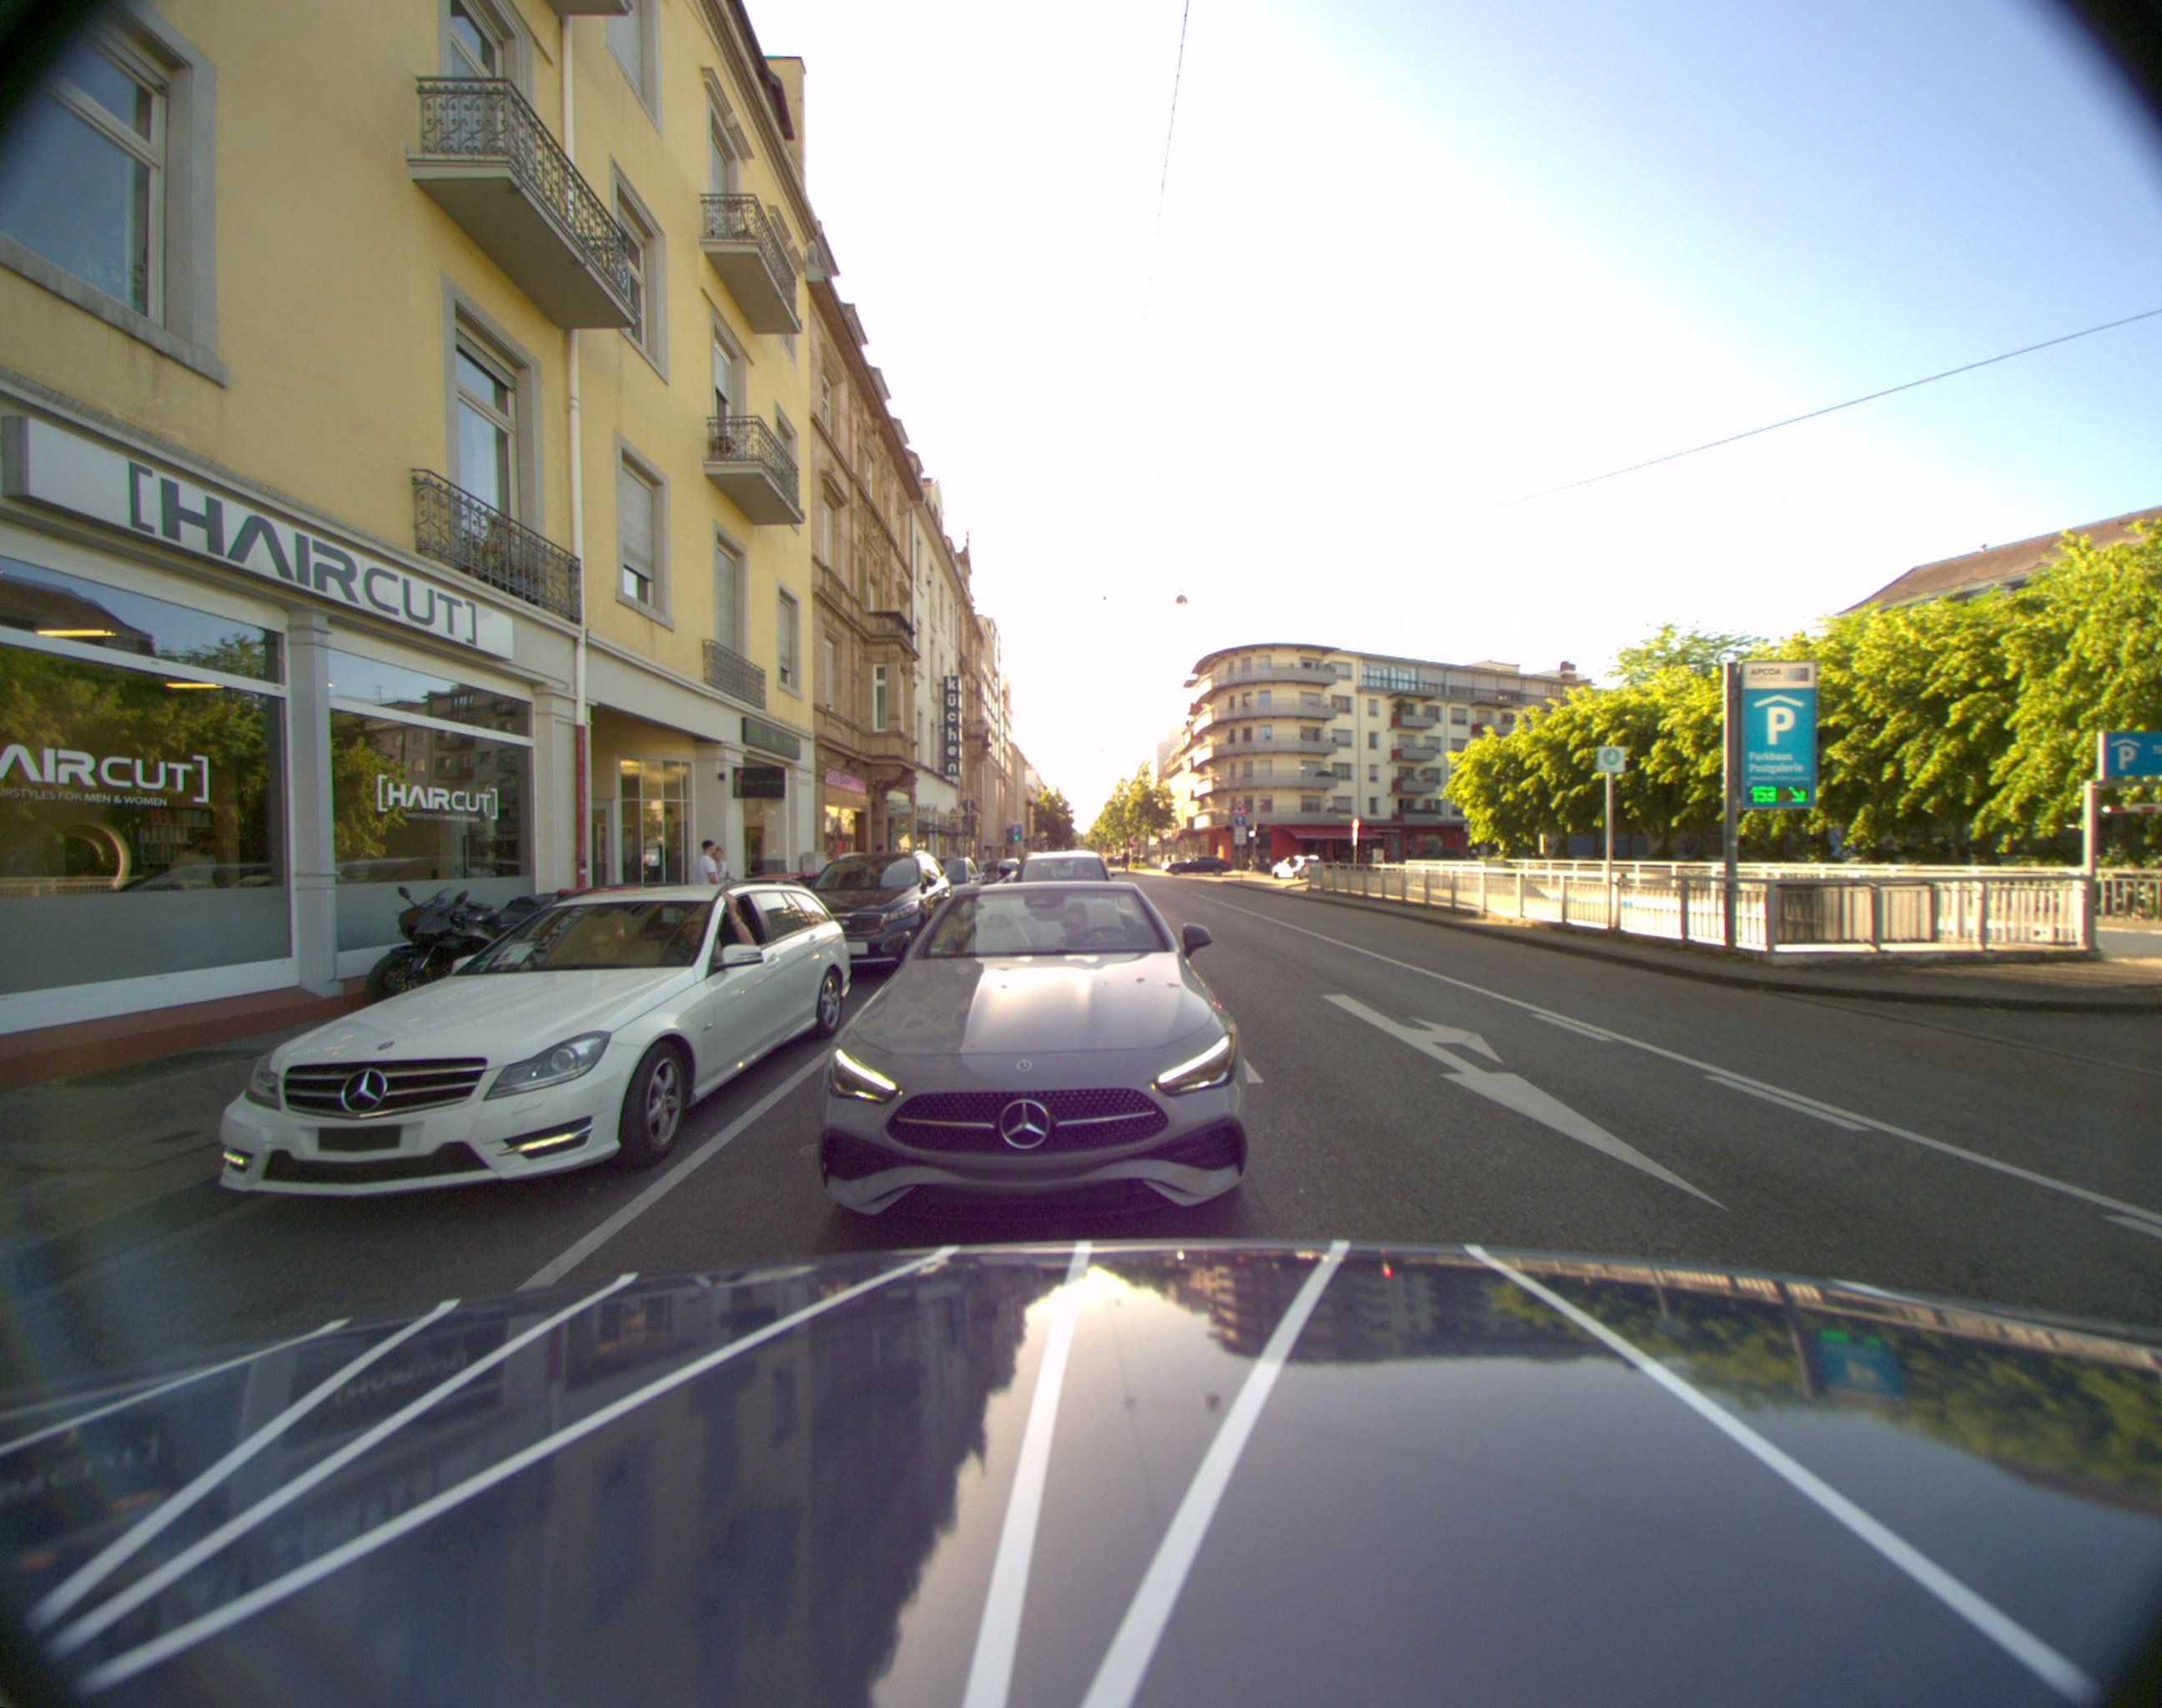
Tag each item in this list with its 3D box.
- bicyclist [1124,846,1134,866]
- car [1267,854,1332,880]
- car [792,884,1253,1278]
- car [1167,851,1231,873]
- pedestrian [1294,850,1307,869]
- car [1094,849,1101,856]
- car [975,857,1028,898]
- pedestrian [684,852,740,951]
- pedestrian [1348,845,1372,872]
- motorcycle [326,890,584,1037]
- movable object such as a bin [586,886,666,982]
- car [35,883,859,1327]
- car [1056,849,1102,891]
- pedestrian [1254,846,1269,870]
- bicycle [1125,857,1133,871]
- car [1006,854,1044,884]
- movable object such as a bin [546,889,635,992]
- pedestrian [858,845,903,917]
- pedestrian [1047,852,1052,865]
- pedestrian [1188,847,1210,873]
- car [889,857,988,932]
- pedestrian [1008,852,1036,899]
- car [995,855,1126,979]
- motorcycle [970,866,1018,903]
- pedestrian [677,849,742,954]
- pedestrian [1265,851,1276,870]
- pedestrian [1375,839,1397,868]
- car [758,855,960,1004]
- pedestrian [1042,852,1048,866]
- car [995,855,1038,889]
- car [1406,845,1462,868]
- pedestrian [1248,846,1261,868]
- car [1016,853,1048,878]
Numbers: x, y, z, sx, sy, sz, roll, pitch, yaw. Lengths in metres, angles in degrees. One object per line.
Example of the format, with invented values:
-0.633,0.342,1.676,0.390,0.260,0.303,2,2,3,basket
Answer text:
4.023,0.140,64.054,0.757,1.651,1.144,-2,1,5,bicyclist
13.047,0.752,45.608,1.804,1.426,4.245,-2,0,-15,car
-0.254,1.016,5.253,1.849,1.371,4.255,-2,0,-1,car
8.169,0.553,52.608,4.283,1.375,2.001,-1,0,9,car
17.695,0.438,61.156,0.583,1.453,0.790,-2,1,-37,pedestrian
4.635,-0.328,212.227,1.998,1.805,4.000,-1,0,1,car
-3.133,0.897,30.729,1.715,1.477,3.999,-1,0,0,car
-6.202,0.786,12.810,0.572,1.607,0.643,-1,1,2,pedestrian
21.692,0.336,59.090,1.234,2.002,1.259,-2,1,-21,pedestrian
-6.257,1.020,7.828,0.773,1.158,2.247,1,0,1,motorcycle
-6.054,1.051,10.142,0.647,1.200,0.644,-1,1,1,movable object such as a bin
-3.074,1.042,5.193,1.759,1.453,4.597,-1,0,0,car
-0.055,0.686,34.582,1.952,1.742,4.000,-1,0,1,car
13.937,0.302,58.661,0.756,1.795,0.755,-2,1,-41,pedestrian
4.057,0.852,64.230,0.661,1.083,1.971,-1,0,4,bicycle
-2.977,0.760,41.001,1.715,1.477,3.999,-1,0,0,car
-6.104,1.060,9.490,0.647,1.200,0.644,-1,1,1,movable object such as a bin
-4.588,0.605,17.458,0.795,1.607,0.763,-1,1,-1,pedestrian
-4.110,0.595,99.326,0.467,1.769,0.567,-2,1,-29,pedestrian
9.214,0.466,59.365,1.202,2.002,1.018,-3,1,-37,pedestrian
-3.271,0.888,17.964,1.696,1.559,3.018,-1,0,1,car
-2.132,0.759,27.522,0.694,1.657,0.833,-2,1,-26,pedestrian
-0.246,0.848,12.179,1.716,1.599,4.000,-1,0,1,car
-3.053,1.045,26.790,0.769,1.225,1.546,-1,1,42,motorcycle
-5.875,0.728,12.052,0.642,1.607,0.701,-1,1,-1,pedestrian
15.058,0.498,60.273,0.791,1.452,0.583,-1,1,10,pedestrian
22.165,-0.034,55.218,1.317,2.002,1.297,-1,1,13,pedestrian
-2.990,0.890,11.339,1.858,1.688,4.697,-1,0,-4,car
-4.656,0.636,99.024,0.528,1.875,0.567,-2,1,-29,pedestrian
-3.045,0.810,36.483,1.715,1.477,3.999,-1,0,0,car
29.039,0.173,62.453,4.004,1.740,1.996,-2,1,-23,car
13.369,0.236,58.500,0.675,1.696,0.698,-2,1,-23,pedestrian
-3.019,0.688,47.595,1.715,1.477,4.062,-1,0,0,car
